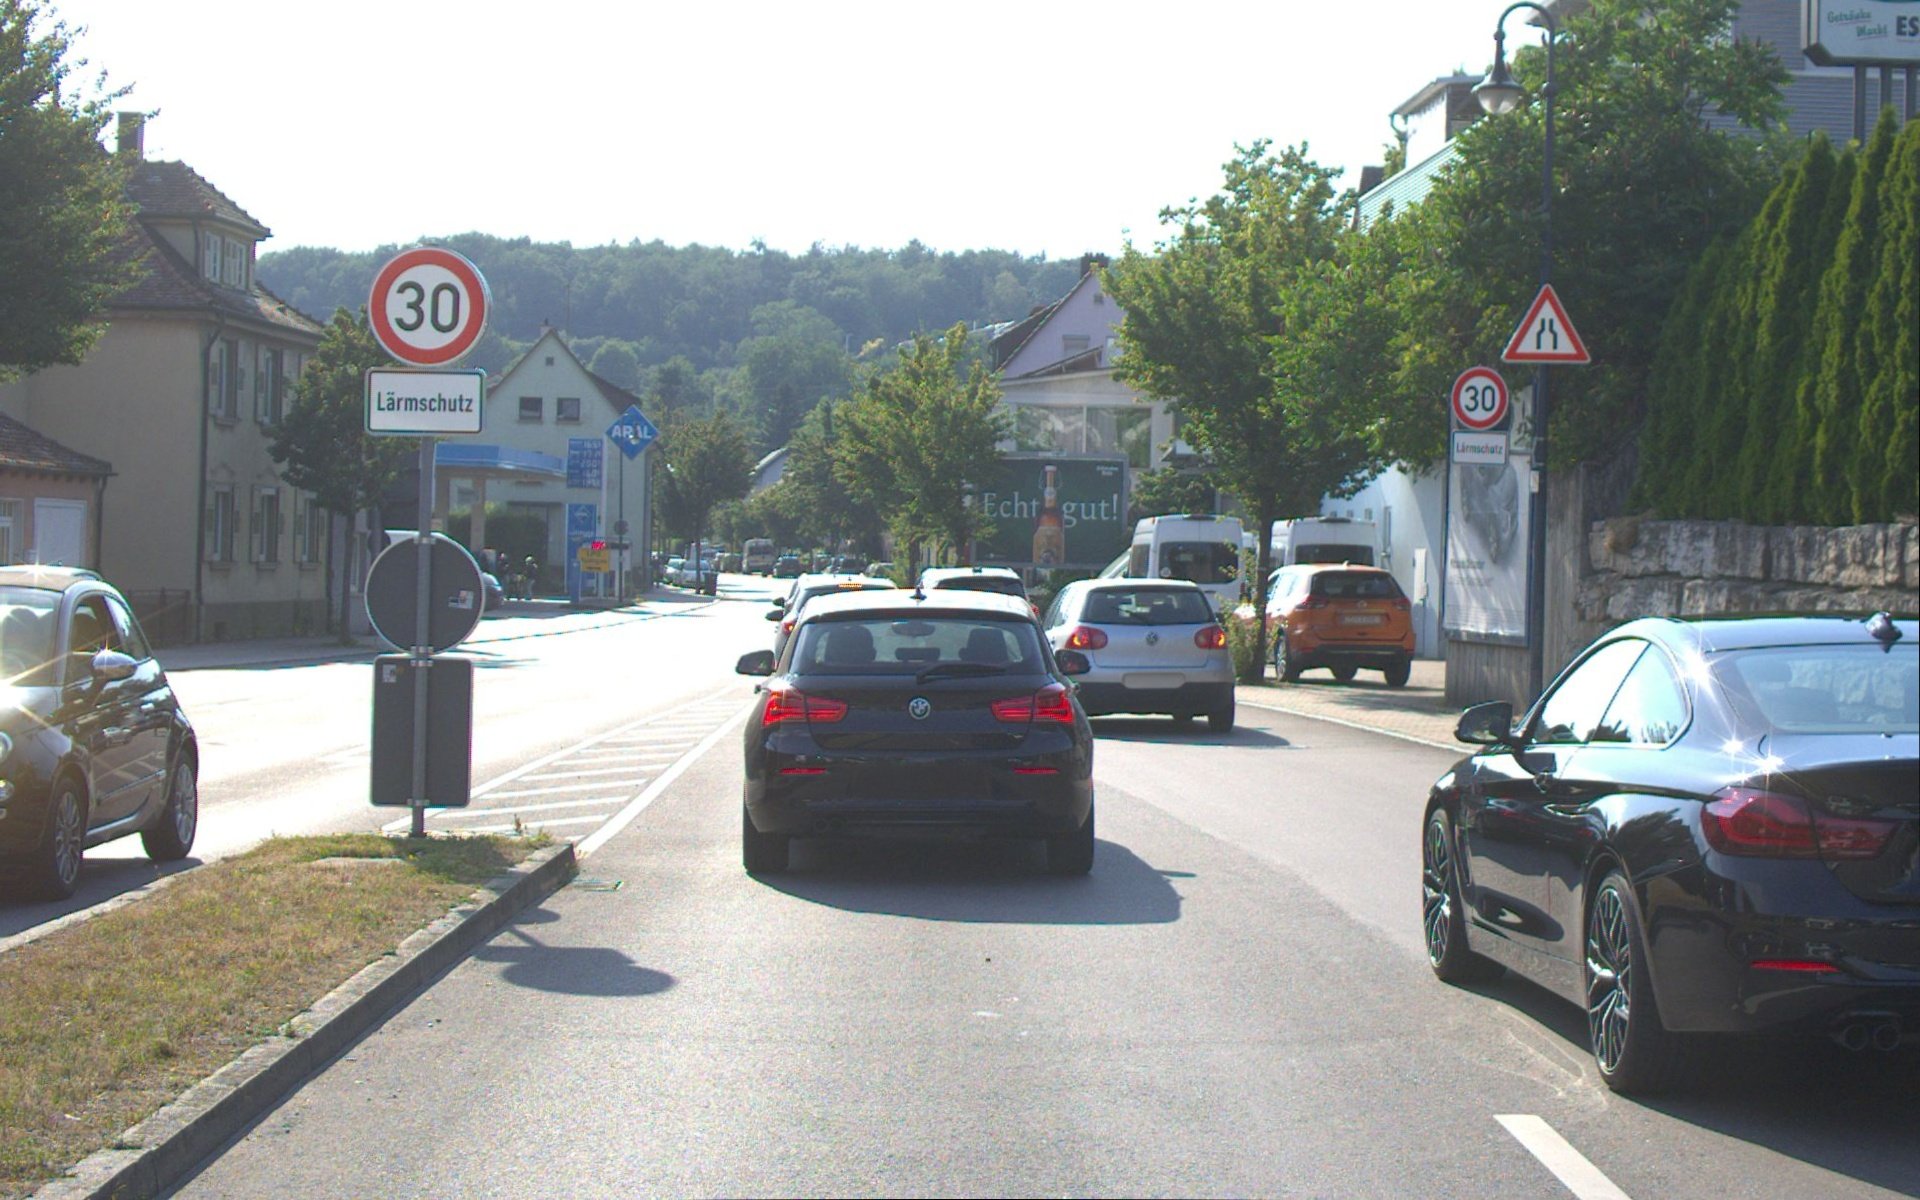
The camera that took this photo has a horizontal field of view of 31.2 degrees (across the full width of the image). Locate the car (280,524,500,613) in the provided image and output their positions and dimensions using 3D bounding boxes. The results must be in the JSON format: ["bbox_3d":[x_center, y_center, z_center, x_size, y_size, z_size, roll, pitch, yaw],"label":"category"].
[{"bbox_3d":[-16.858,-0.946,101.906,6.158,2.436,2.250,1,1,-2],"label":"car"}]

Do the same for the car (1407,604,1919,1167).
[{"bbox_3d":[2.637,0.740,11.022,1.699,1.364,4.263,0,1,-2],"label":"car"}]

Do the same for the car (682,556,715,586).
[{"bbox_3d":[-13.730,-1.518,180.475,1.596,1.480,3.475,1,1,-3],"label":"car"}]

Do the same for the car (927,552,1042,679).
[{"bbox_3d":[0.349,0.189,49.974,1.603,1.761,3.411,1,1,0],"label":"car"}]

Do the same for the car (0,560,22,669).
[{"bbox_3d":[-13.991,0.165,45.618,1.666,1.482,3.999,3,1,4],"label":"car"}]

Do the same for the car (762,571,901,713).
[{"bbox_3d":[-1.580,0.471,41.554,1.591,1.595,3.894,0,1,-3],"label":"car"}]

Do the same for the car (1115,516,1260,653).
[{"bbox_3d":[4.643,-0.362,71.185,2.149,2.671,6.604,0,1,-4],"label":"car"}]

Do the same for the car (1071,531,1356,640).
[{"bbox_3d":[5.601,-0.335,76.381,6.043,2.355,2.044,0,1,-4],"label":"car"}]

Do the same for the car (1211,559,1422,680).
[{"bbox_3d":[5.053,0.249,49.347,1.834,1.644,4.539,1,0,-10],"label":"car"}]

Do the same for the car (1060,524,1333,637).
[{"bbox_3d":[5.420,-0.461,79.295,6.043,2.507,2.044,0,1,-4],"label":"car"}]

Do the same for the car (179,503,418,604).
[{"bbox_3d":[-17.728,-1.273,92.335,5.920,2.471,2.194,1,3,2],"label":"car"}]

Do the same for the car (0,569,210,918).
[{"bbox_3d":[-4.770,0.600,16.511,1.532,1.457,3.506,1,1,1],"label":"car"}]

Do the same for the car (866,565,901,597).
[{"bbox_3d":[-3.743,-0.921,167.942,1.596,1.480,3.475,1,1,-3],"label":"car"}]

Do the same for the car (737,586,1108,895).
[{"bbox_3d":[-0.212,0.665,18.210,1.771,1.451,3.516,0,0,-1],"label":"car"}]

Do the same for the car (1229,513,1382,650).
[{"bbox_3d":[7.124,-0.424,71.603,2.111,2.712,6.444,0,1,-4],"label":"car"}]

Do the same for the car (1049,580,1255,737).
[{"bbox_3d":[1.829,0.535,33.632,1.753,1.409,3.422,1,1,-1],"label":"car"}]
